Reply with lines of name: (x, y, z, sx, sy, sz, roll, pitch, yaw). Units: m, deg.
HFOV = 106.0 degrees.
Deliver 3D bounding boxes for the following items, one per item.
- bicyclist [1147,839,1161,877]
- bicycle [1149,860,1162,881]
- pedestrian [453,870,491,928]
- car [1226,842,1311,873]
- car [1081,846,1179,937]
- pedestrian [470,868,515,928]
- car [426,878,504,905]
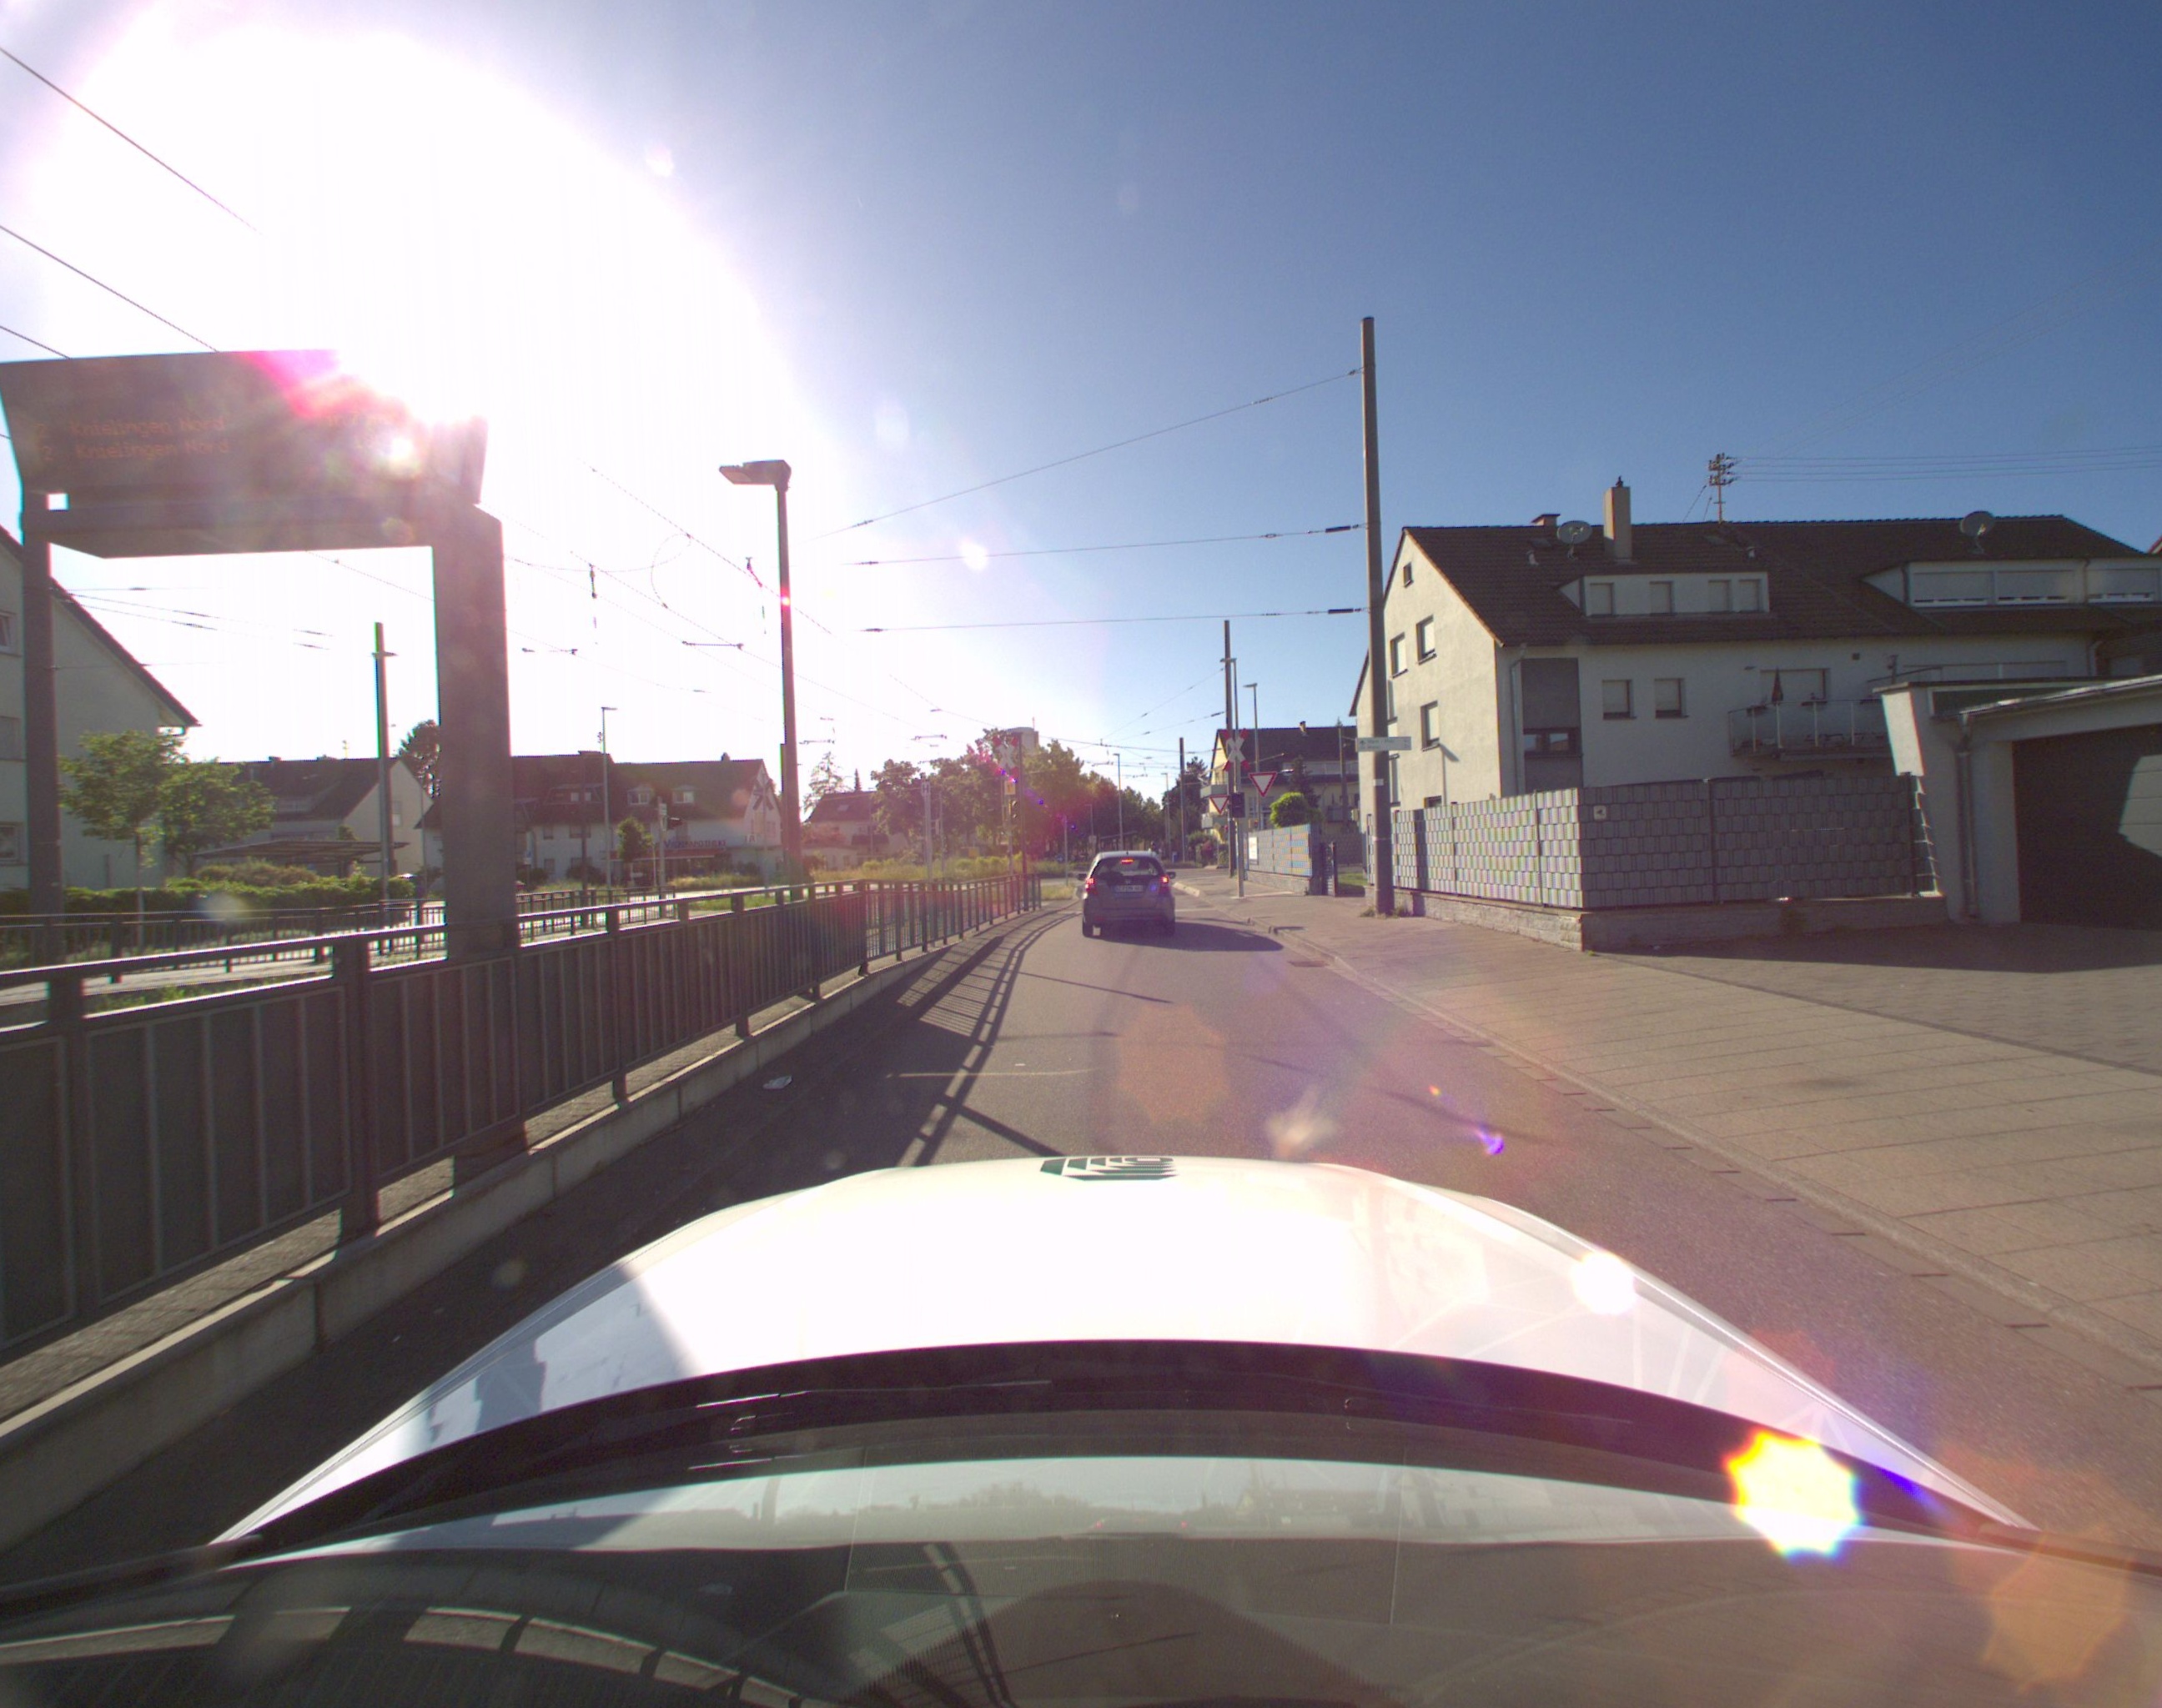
bicyclist: (3.335, 0.173, 37.187, 0.596, 1.701, 0.684, -1, -1, 1)
bicycle: (3.384, 0.748, 37.192, 0.473, 0.961, 1.657, -1, -1, 2)
pedestrian: (-19.165, 1.406, 25.638, 0.591, 1.732, 0.689, -2, 0, -1)
car: (9.855, 0.187, 42.769, 3.998, 1.529, 1.797, -1, -1, -18)
car: (0.863, 0.648, 15.739, 1.665, 1.535, 3.487, -1, 0, 1)
pedestrian: (-17.992, 1.325, 24.900, 0.726, 1.762, 0.772, -2, 0, -1)
car: (-39.835, 2.426, 52.765, 3.506, 1.473, 1.817, -3, 0, -7)
